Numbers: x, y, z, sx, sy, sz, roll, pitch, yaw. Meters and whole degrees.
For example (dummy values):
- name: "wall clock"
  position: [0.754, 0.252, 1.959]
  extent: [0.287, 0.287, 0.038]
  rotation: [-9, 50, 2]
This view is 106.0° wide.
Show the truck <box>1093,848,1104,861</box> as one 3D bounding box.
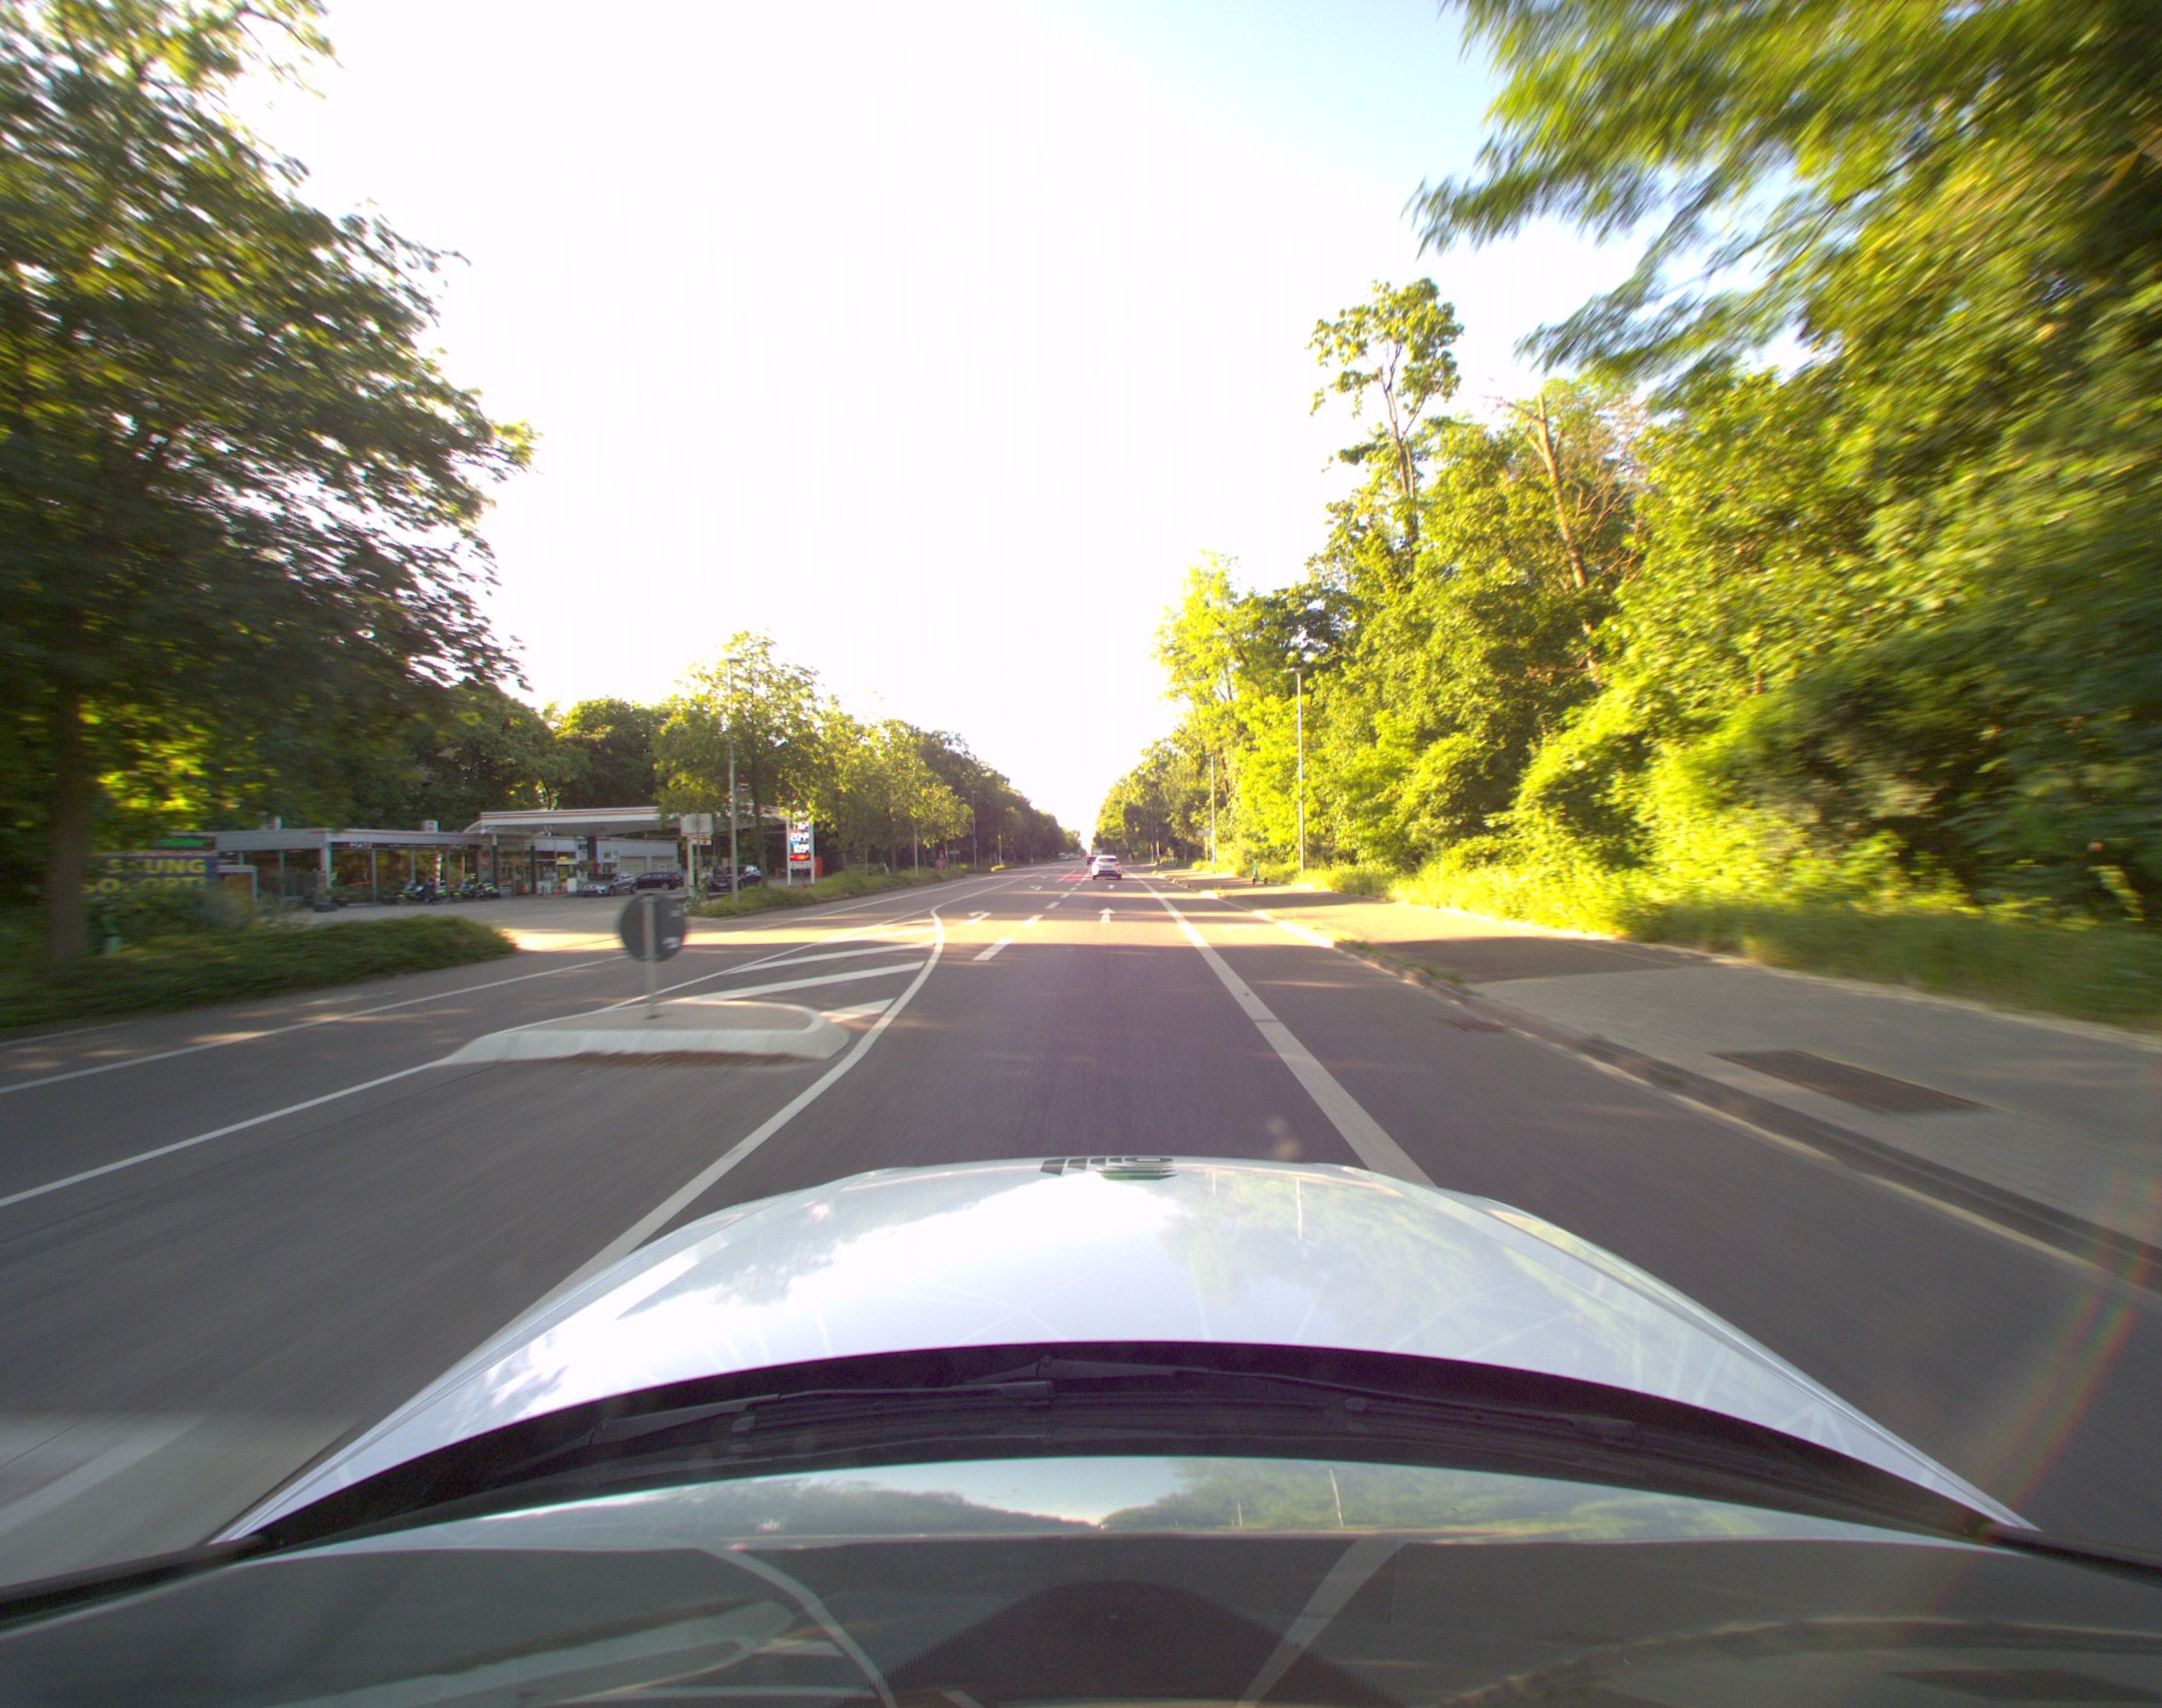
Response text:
- name: "truck"
  position: [4.754, 0.083, 220.611]
  extent: [2.790, 3.570, 8.033]
  rotation: [-1, 0, 0]

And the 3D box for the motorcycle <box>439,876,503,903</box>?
- name: "motorcycle"
  position: [-36.318, 2.116, 48.539]
  extent: [1.120, 1.451, 2.763]
  rotation: [-2, 0, 28]

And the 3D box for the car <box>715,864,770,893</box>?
- name: "car"
  position: [-21.513, 1.526, 51.918]
  extent: [1.707, 1.691, 4.449]
  rotation: [-2, 0, -3]

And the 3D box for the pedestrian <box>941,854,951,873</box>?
- name: "pedestrian"
  position: [-14.734, 0.989, 88.729]
  extent: [0.710, 2.013, 0.752]
  rotation: [-2, 0, 32]

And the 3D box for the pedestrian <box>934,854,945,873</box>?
- name: "pedestrian"
  position: [-15.116, 1.050, 86.856]
  extent: [0.710, 2.013, 0.802]
  rotation: [-2, 0, 35]

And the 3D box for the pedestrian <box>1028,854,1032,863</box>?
- name: "pedestrian"
  position: [-11.833, 1.077, 188.310]
  extent: [0.860, 2.013, 1.269]
  rotation: [-2, 0, 1]

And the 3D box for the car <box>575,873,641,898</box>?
- name: "car"
  position: [-29.726, 1.938, 51.350]
  extent: [1.705, 1.376, 4.060]
  rotation: [-2, 0, 0]

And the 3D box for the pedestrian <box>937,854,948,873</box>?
- name: "pedestrian"
  position: [-15.111, 1.003, 88.579]
  extent: [0.710, 2.013, 0.880]
  rotation: [-2, 0, 32]

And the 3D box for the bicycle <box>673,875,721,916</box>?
- name: "bicycle"
  position: [-12.901, 1.364, 27.432]
  extent: [0.653, 1.250, 2.156]
  rotation: [-2, 0, -4]

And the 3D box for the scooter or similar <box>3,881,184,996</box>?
- name: "scooter or similar"
  position: [-16.484, 1.361, 13.671]
  extent: [0.824, 1.717, 1.742]
  rotation: [-2, 0, 2]

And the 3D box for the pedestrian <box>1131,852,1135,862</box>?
- name: "pedestrian"
  position: [9.470, 0.556, 148.581]
  extent: [0.696, 1.653, 0.876]
  rotation: [-2, 0, 0]

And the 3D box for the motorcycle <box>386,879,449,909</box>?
- name: "motorcycle"
  position: [-36.399, 2.167, 44.701]
  extent: [1.120, 1.451, 2.521]
  rotation: [-2, 0, 45]

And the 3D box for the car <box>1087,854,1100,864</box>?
- name: "car"
  position: [1.992, 0.808, 126.911]
  extent: [1.986, 1.519, 4.002]
  rotation: [-2, 0, 2]

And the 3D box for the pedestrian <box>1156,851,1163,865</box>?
- name: "pedestrian"
  position: [8.933, 0.402, 93.024]
  extent: [0.751, 1.563, 0.803]
  rotation: [-2, 0, 6]

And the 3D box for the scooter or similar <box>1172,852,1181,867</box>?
- name: "scooter or similar"
  position: [9.186, 0.524, 78.624]
  extent: [0.679, 1.423, 1.682]
  rotation: [-2, 0, 1]

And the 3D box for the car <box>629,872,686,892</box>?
- name: "car"
  position: [-33.259, 2.182, 64.028]
  extent: [3.626, 1.353, 1.708]
  rotation: [-2, 0, -14]

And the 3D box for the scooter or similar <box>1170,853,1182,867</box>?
- name: "scooter or similar"
  position: [9.408, 0.578, 80.475]
  extent: [0.467, 1.306, 1.470]
  rotation: [-2, 0, -21]

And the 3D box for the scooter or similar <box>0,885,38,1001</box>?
- name: "scooter or similar"
  position: [-16.600, 1.351, 11.730]
  extent: [0.824, 1.717, 1.742]
  rotation: [-2, 0, 2]

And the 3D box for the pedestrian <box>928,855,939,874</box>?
- name: "pedestrian"
  position: [-15.574, 1.121, 86.167]
  extent: [0.710, 2.013, 0.802]
  rotation: [-2, 0, 35]

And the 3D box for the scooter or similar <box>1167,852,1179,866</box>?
- name: "scooter or similar"
  position: [9.345, 0.519, 82.575]
  extent: [0.682, 1.423, 1.674]
  rotation: [-2, 0, -12]

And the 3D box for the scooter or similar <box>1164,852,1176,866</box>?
- name: "scooter or similar"
  position: [9.275, 0.526, 84.648]
  extent: [0.683, 1.423, 1.673]
  rotation: [-2, 0, -14]

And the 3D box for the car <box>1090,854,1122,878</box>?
- name: "car"
  position: [1.561, 0.762, 51.545]
  extent: [1.757, 1.459, 3.814]
  rotation: [0, 0, -2]

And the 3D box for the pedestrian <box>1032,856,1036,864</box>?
- name: "pedestrian"
  position: [-10.866, 1.383, 188.308]
  extent: [0.828, 2.013, 1.269]
  rotation: [-2, 0, 0]

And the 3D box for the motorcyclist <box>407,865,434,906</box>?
- name: "motorcyclist"
  position: [-36.333, 1.721, 44.793]
  extent: [1.022, 2.182, 1.110]
  rotation: [-2, 0, -45]

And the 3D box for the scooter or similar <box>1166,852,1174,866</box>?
- name: "scooter or similar"
  position: [9.582, 0.513, 87.636]
  extent: [0.679, 1.423, 1.682]
  rotation: [-2, 0, 1]

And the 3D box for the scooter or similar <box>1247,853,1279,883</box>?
- name: "scooter or similar"
  position: [7.832, 0.598, 35.006]
  extent: [1.550, 1.250, 0.528]
  rotation: [-2, 0, -42]

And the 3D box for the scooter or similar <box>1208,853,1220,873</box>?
- name: "scooter or similar"
  position: [8.619, 0.565, 52.855]
  extent: [0.531, 1.250, 1.542]
  rotation: [-2, 0, 1]

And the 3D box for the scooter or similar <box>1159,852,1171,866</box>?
- name: "scooter or similar"
  position: [8.910, 0.543, 86.333]
  extent: [0.683, 1.423, 1.673]
  rotation: [-2, 0, -14]
